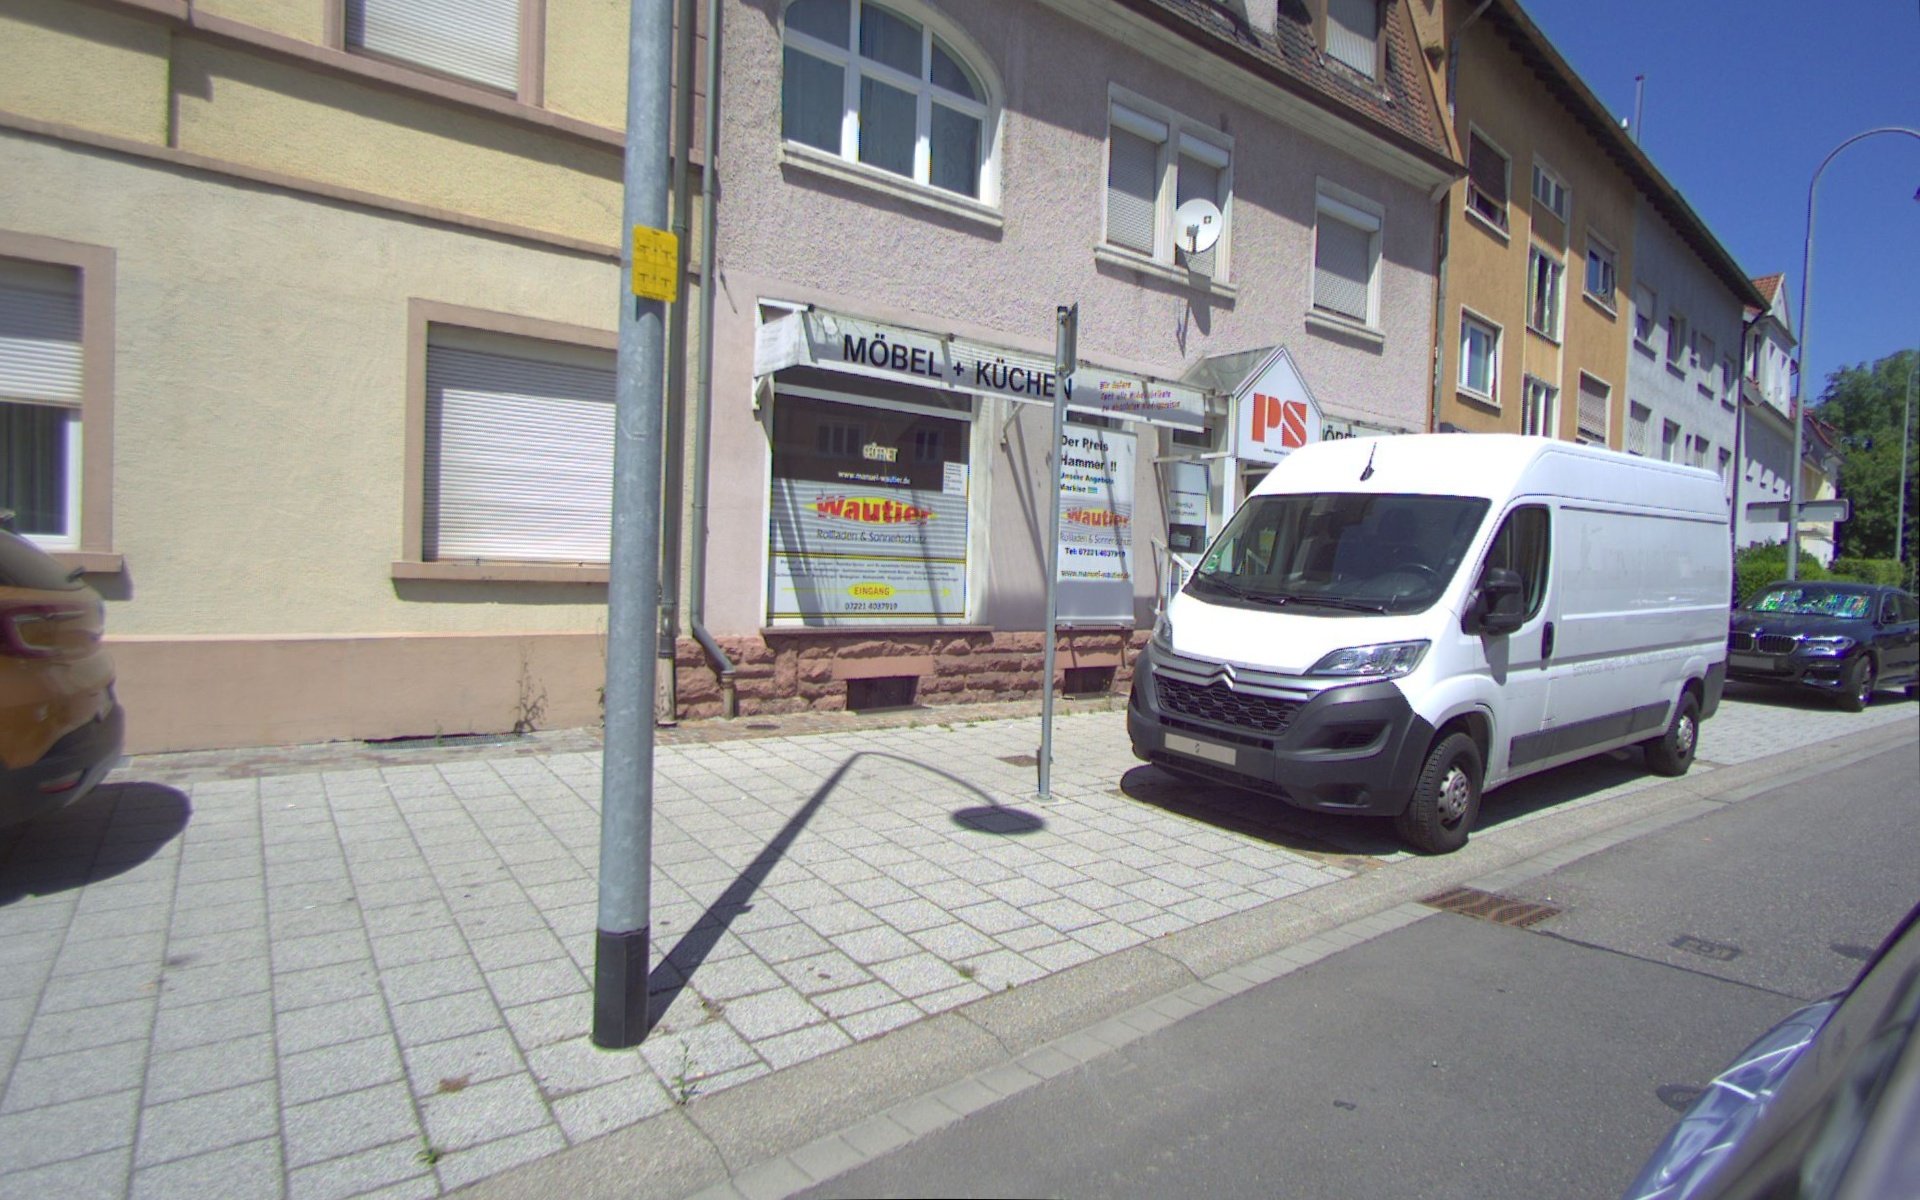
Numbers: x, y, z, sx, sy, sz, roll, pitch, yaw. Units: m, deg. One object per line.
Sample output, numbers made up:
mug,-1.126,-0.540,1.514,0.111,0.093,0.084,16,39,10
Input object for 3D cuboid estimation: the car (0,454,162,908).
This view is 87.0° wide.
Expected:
car,-5.306,0.235,3.236,4.283,1.639,1.678,0,5,-38

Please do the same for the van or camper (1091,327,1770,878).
van or camper,3.759,-0.057,7.446,5.662,2.620,2.171,0,3,-39

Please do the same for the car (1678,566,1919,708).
car,12.147,0.414,14.094,4.278,1.626,1.904,0,4,-32
